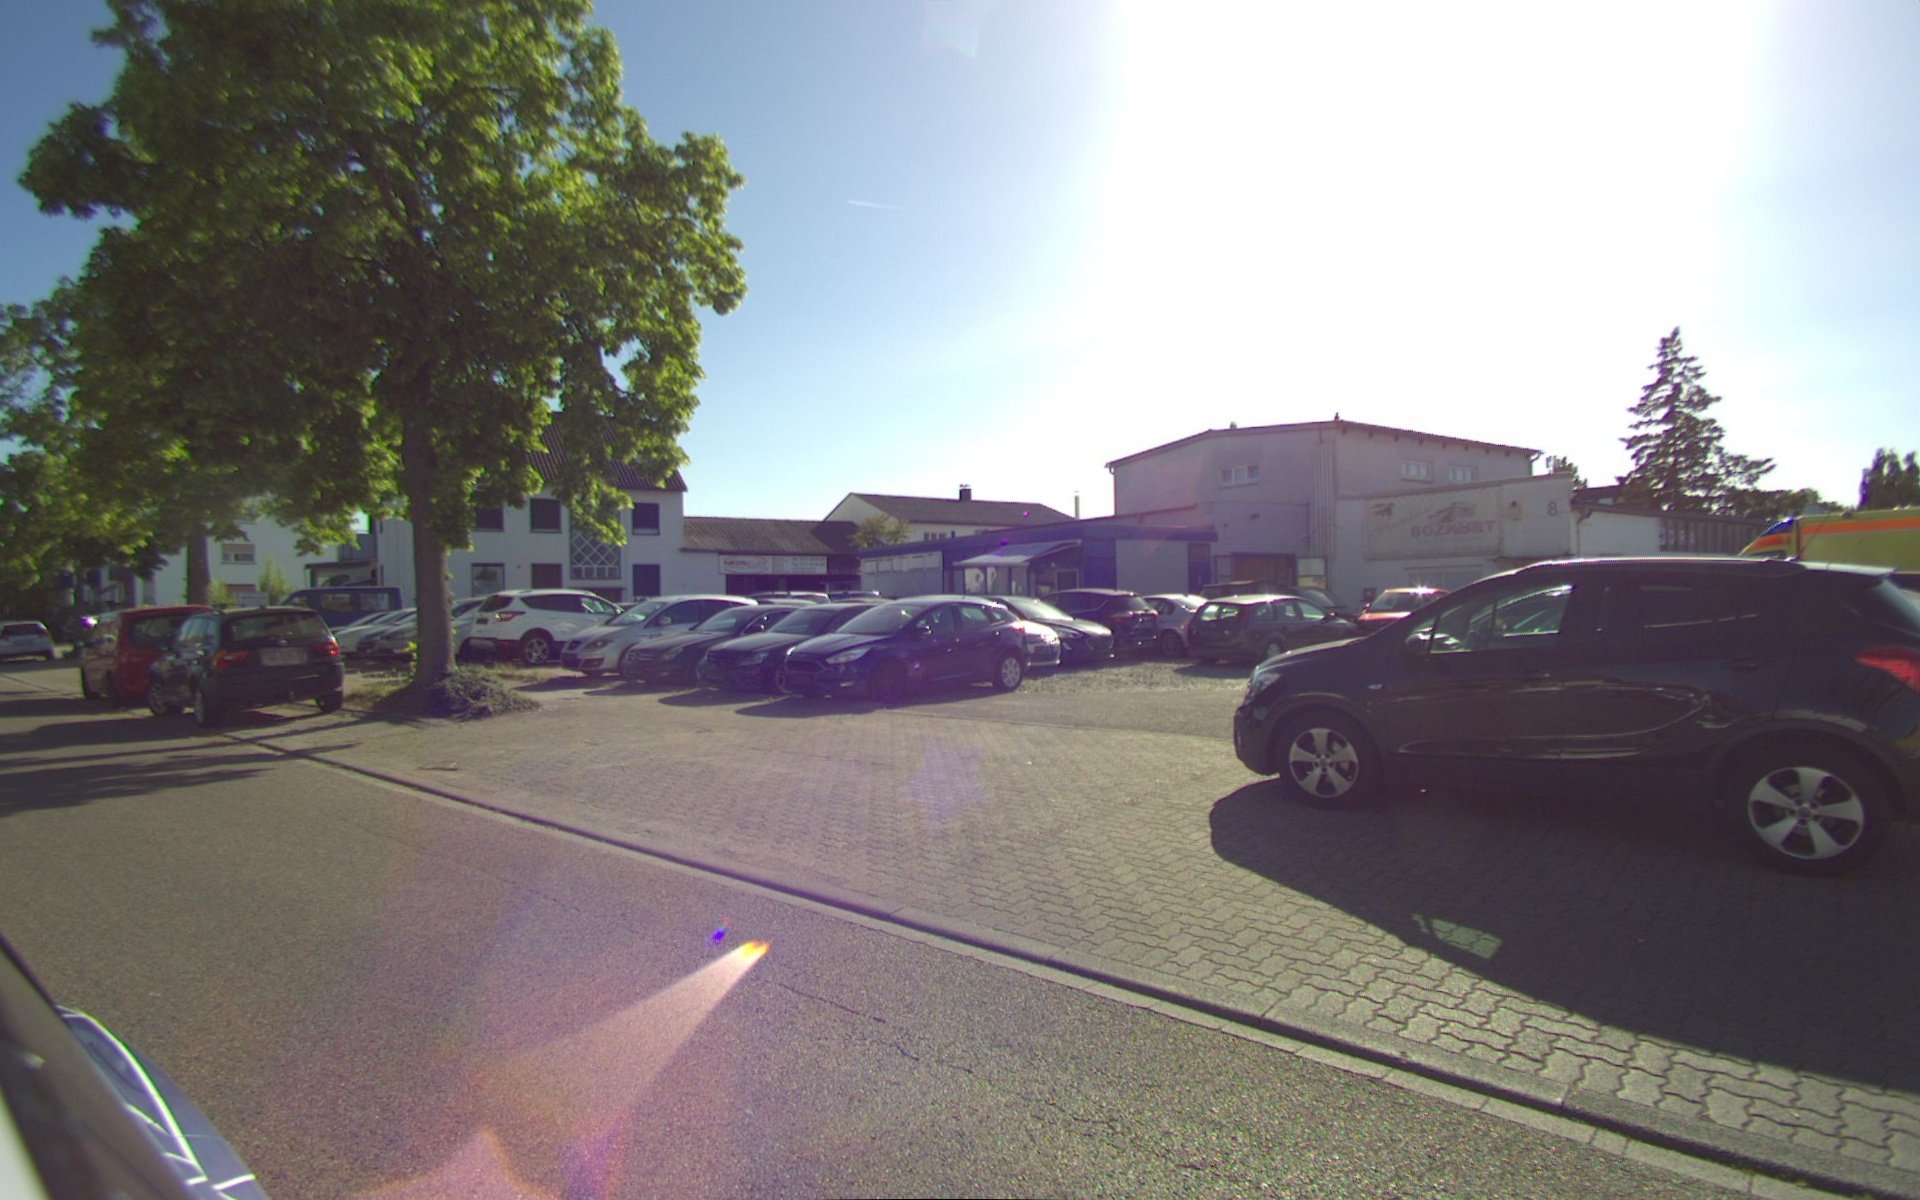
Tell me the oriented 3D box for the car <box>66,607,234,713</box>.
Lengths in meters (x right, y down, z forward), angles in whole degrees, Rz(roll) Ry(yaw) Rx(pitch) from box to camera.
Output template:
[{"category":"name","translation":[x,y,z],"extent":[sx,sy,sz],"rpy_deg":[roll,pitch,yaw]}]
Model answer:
[{"category":"car","translation":[-15.820,1.088,19.680],"extent":[4.340,1.765,1.785],"rpy_deg":[-2,1,42]}]

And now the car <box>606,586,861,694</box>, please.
[{"category":"car","translation":[-4.016,0.638,18.375],"extent":[4.198,1.742,1.767],"rpy_deg":[-1,-1,-43]}]

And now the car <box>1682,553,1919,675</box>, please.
[{"category":"car","translation":[14.086,0.229,15.816],"extent":[1.753,1.761,4.172],"rpy_deg":[-1,-2,-38]}]

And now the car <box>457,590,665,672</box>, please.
[{"category":"car","translation":[-9.308,0.668,23.862],"extent":[1.765,1.742,4.204],"rpy_deg":[-2,-1,41]}]

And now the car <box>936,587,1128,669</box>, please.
[{"category":"car","translation":[1.442,0.567,21.433],"extent":[1.644,1.576,4.004],"rpy_deg":[-1,0,-43]}]

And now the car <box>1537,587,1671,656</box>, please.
[{"category":"car","translation":[14.679,0.451,23.015],"extent":[3.559,1.433,1.591],"rpy_deg":[-1,0,-41]}]

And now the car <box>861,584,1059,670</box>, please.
[{"category":"car","translation":[-0.087,0.518,20.175],"extent":[1.644,1.528,4.004],"rpy_deg":[-1,0,-43]}]

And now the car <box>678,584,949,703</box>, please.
[{"category":"car","translation":[-2.339,0.632,16.852],"extent":[4.198,1.742,1.767],"rpy_deg":[-1,-1,-43]}]

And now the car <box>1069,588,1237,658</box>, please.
[{"category":"car","translation":[4.635,0.544,24.781],"extent":[1.642,1.528,4.010],"rpy_deg":[-1,0,-35]}]

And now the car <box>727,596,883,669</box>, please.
[{"category":"car","translation":[-3.716,0.737,23.734],"extent":[1.644,1.528,4.004],"rpy_deg":[-1,0,-43]}]

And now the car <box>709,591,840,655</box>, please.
[{"category":"car","translation":[-5.191,0.617,27.980],"extent":[1.644,1.631,4.004],"rpy_deg":[-1,0,-43]}]

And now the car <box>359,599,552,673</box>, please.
[{"category":"car","translation":[-13.165,0.880,26.564],"extent":[1.766,1.766,4.201],"rpy_deg":[-2,-1,44]}]

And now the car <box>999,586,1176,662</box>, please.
[{"category":"car","translation":[2.837,0.539,23.139],"extent":[1.644,1.576,3.853],"rpy_deg":[-1,0,-43]}]

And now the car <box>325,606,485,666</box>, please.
[{"category":"car","translation":[-16.113,1.004,29.508],"extent":[1.547,1.553,3.765],"rpy_deg":[-2,0,41]}]

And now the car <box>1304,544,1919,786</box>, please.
[{"category":"car","translation":[5.431,0.458,8.724],"extent":[4.274,1.602,1.842],"rpy_deg":[-1,0,41]}]

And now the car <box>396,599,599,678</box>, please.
[{"category":"car","translation":[-11.329,0.885,24.952],"extent":[4.198,1.742,1.767],"rpy_deg":[-1,-1,-43]}]

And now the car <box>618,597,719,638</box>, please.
[{"category":"car","translation":[-12.266,0.714,42.664],"extent":[3.755,1.553,1.551],"rpy_deg":[-2,0,-37]}]

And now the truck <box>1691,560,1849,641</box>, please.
[{"category":"truck","translation":[22.840,-0.031,28.439],"extent":[5.781,2.079,2.033],"rpy_deg":[-1,0,-37]}]

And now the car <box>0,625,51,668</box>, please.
[{"category":"car","translation":[-35.515,1.737,38.005],"extent":[4.209,1.446,1.669],"rpy_deg":[-2,2,43]}]

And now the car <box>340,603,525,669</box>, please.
[{"category":"car","translation":[-14.628,0.961,28.246],"extent":[1.764,1.597,4.206],"rpy_deg":[-2,0,40]}]

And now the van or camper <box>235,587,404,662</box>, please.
[{"category":"van or camper","translation":[-22.382,0.788,35.409],"extent":[4.828,2.337,2.249],"rpy_deg":[-2,1,-36]}]

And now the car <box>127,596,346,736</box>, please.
[{"category":"car","translation":[-11.228,0.933,15.580],"extent":[4.552,1.784,1.657],"rpy_deg":[-2,2,41]}]

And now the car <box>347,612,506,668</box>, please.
[{"category":"car","translation":[-17.129,1.252,32.617],"extent":[4.199,1.553,1.767],"rpy_deg":[-2,0,-43]}]

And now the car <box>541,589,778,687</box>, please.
[{"category":"car","translation":[-5.879,0.679,20.157],"extent":[1.766,1.742,4.202],"rpy_deg":[-2,-1,43]}]

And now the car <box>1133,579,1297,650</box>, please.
[{"category":"car","translation":[6.501,0.363,26.189],"extent":[1.642,1.666,4.010],"rpy_deg":[-1,0,-35]}]

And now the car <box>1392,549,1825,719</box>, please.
[{"category":"car","translation":[7.893,0.424,12.705],"extent":[1.753,1.761,4.172],"rpy_deg":[-1,-2,-38]}]

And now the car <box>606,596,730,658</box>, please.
[{"category":"car","translation":[-8.040,0.722,27.672],"extent":[1.644,1.528,4.004],"rpy_deg":[-1,0,-43]}]

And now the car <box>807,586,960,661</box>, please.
[{"category":"car","translation":[-1.962,0.572,25.193],"extent":[1.644,1.706,4.004],"rpy_deg":[-1,0,-43]}]

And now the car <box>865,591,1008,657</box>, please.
[{"category":"car","translation":[-0.678,0.615,26.566],"extent":[1.644,1.576,3.785],"rpy_deg":[-1,0,-43]}]

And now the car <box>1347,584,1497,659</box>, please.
[{"category":"car","translation":[10.833,0.456,23.624],"extent":[3.938,1.564,1.672],"rpy_deg":[-1,0,-41]}]

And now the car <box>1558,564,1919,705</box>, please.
[{"category":"car","translation":[10.338,0.440,12.996],"extent":[1.753,1.557,4.172],"rpy_deg":[-1,-2,-38]}]

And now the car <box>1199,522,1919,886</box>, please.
[{"category":"car","translation":[3.963,0.484,6.573],"extent":[4.274,1.727,1.843],"rpy_deg":[-1,2,41]}]

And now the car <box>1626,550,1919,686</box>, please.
[{"category":"car","translation":[12.366,0.277,14.632],"extent":[1.753,1.761,4.172],"rpy_deg":[-1,-2,-38]}]

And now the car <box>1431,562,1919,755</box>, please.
[{"category":"car","translation":[7.272,0.454,10.178],"extent":[4.274,1.601,1.842],"rpy_deg":[1,1,41]}]

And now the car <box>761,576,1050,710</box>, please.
[{"category":"car","translation":[-0.709,0.555,15.292],"extent":[4.198,1.742,1.767],"rpy_deg":[-1,-1,-43]}]

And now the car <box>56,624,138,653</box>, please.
[{"category":"car","translation":[-50.941,2.233,59.858],"extent":[1.589,1.525,4.396],"rpy_deg":[-2,0,-9]}]

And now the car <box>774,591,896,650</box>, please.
[{"category":"car","translation":[-3.698,0.587,29.576],"extent":[1.644,1.576,3.720],"rpy_deg":[-1,0,-43]}]

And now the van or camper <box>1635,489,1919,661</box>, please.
[{"category":"van or camper","translation":[15.623,-0.397,17.409],"extent":[2.137,2.736,6.282],"rpy_deg":[-1,0,-38]}]

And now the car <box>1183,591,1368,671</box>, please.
[{"category":"car","translation":[6.624,0.581,21.130],"extent":[3.934,1.461,1.673],"rpy_deg":[-1,1,-36]}]
